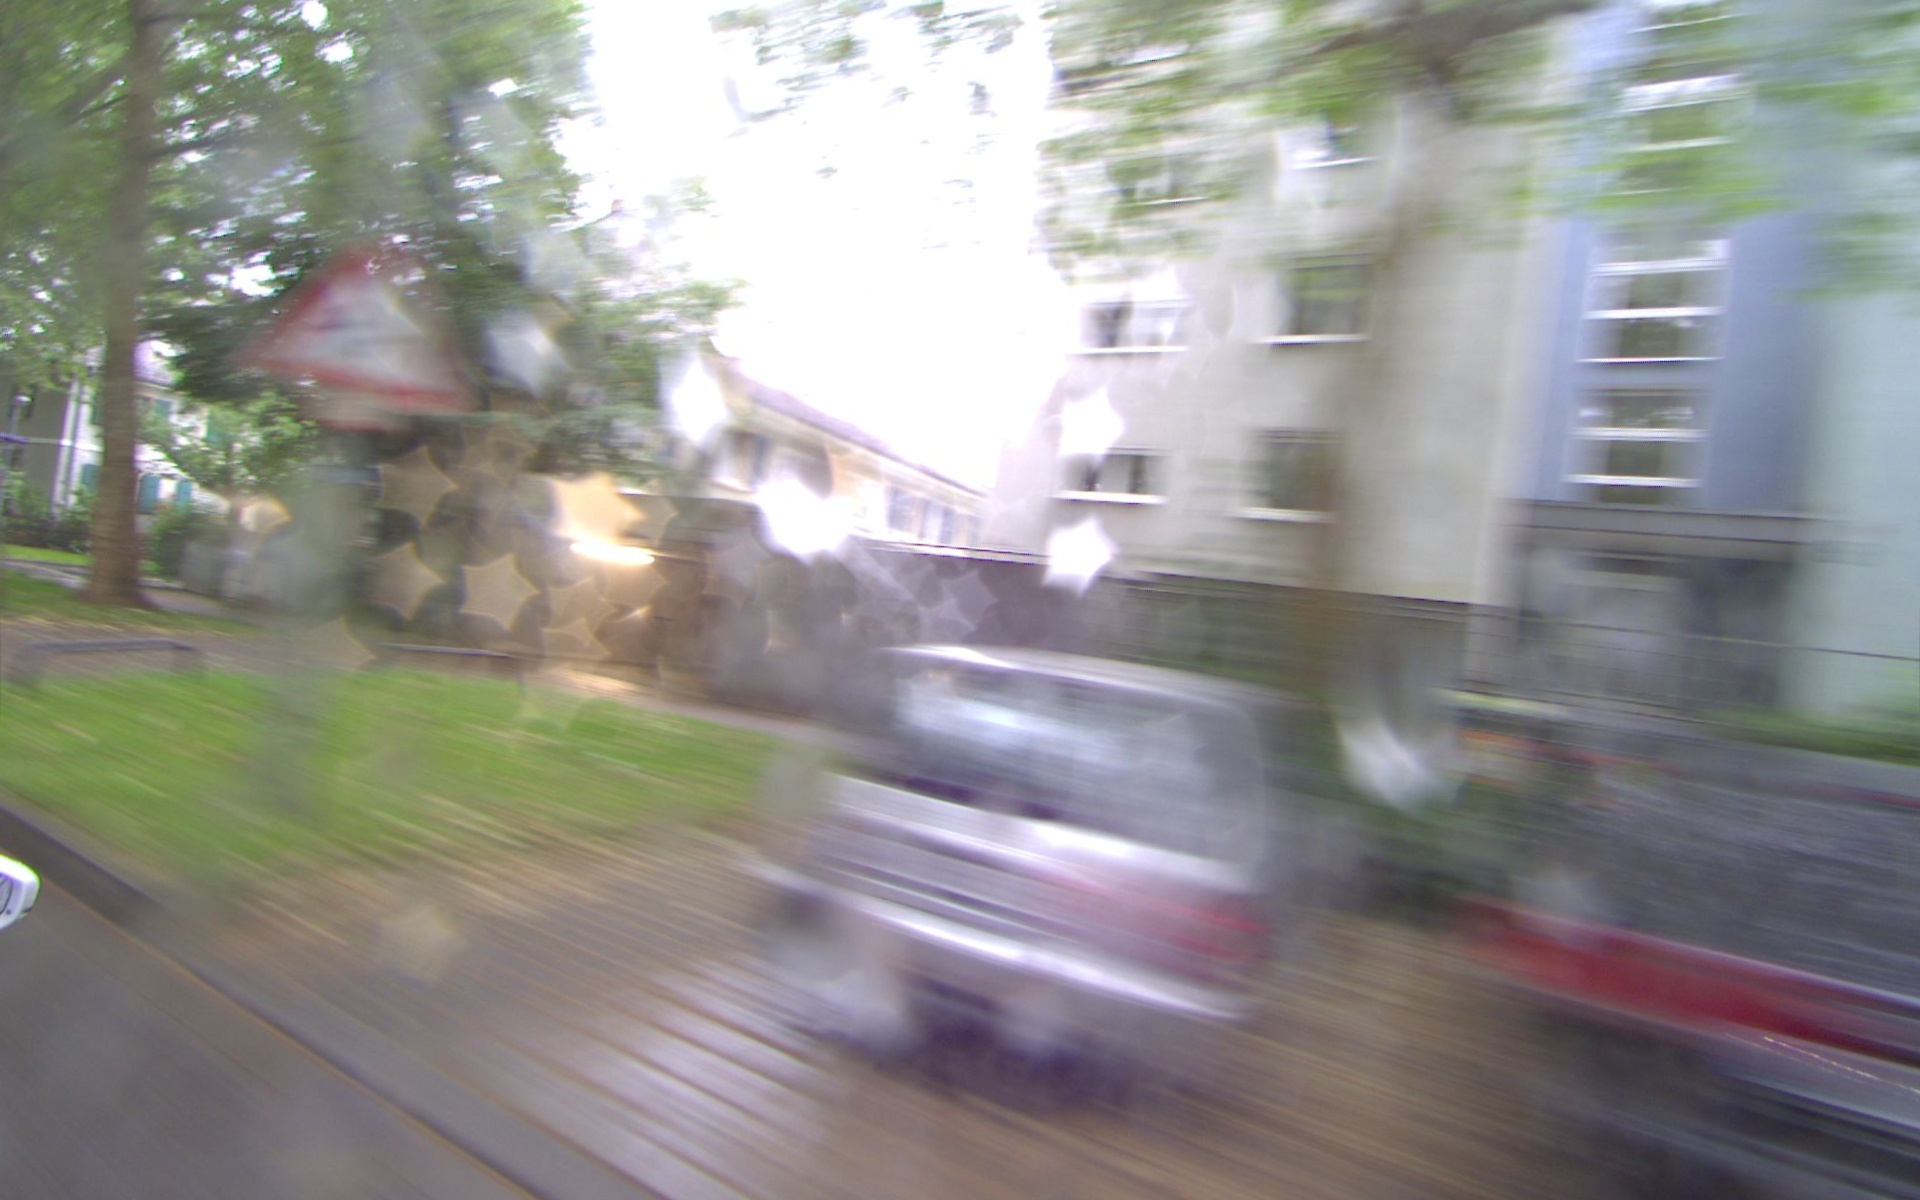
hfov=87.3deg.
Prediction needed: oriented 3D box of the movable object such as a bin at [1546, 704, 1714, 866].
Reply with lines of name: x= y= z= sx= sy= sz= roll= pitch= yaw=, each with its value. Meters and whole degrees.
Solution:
movable object such as a bin: x=7.365 y=1.989 z=11.158 sx=1.323 sy=1.454 sz=1.206 roll=7 pitch=-1 yaw=31

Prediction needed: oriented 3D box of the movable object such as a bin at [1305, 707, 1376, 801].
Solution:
movable object such as a bin: x=4.866 y=1.950 z=12.848 sx=0.611 sy=1.079 sz=0.661 roll=7 pitch=-1 yaw=31

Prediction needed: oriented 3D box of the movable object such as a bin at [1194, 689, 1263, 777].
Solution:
movable object such as a bin: x=3.655 y=1.796 z=13.673 sx=0.611 sy=1.079 sz=0.688 roll=7 pitch=-1 yaw=31

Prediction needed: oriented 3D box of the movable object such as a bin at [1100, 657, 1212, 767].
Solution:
movable object such as a bin: x=2.752 y=1.556 z=14.118 sx=1.154 sy=1.326 sz=0.904 roll=7 pitch=-1 yaw=32

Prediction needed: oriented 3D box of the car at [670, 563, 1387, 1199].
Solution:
car: x=0.786 y=0.953 z=4.855 sx=1.651 sy=1.596 sz=3.996 roll=7 pitch=-2 yaw=31

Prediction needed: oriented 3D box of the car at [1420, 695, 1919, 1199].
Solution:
car: x=2.692 y=1.211 z=3.336 sx=1.651 sy=1.454 sz=3.996 roll=7 pitch=-2 yaw=31

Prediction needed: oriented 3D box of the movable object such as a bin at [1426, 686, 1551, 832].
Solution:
movable object such as a bin: x=6.197 y=1.828 z=11.783 sx=1.095 sy=1.455 sz=0.866 roll=7 pitch=-1 yaw=32
